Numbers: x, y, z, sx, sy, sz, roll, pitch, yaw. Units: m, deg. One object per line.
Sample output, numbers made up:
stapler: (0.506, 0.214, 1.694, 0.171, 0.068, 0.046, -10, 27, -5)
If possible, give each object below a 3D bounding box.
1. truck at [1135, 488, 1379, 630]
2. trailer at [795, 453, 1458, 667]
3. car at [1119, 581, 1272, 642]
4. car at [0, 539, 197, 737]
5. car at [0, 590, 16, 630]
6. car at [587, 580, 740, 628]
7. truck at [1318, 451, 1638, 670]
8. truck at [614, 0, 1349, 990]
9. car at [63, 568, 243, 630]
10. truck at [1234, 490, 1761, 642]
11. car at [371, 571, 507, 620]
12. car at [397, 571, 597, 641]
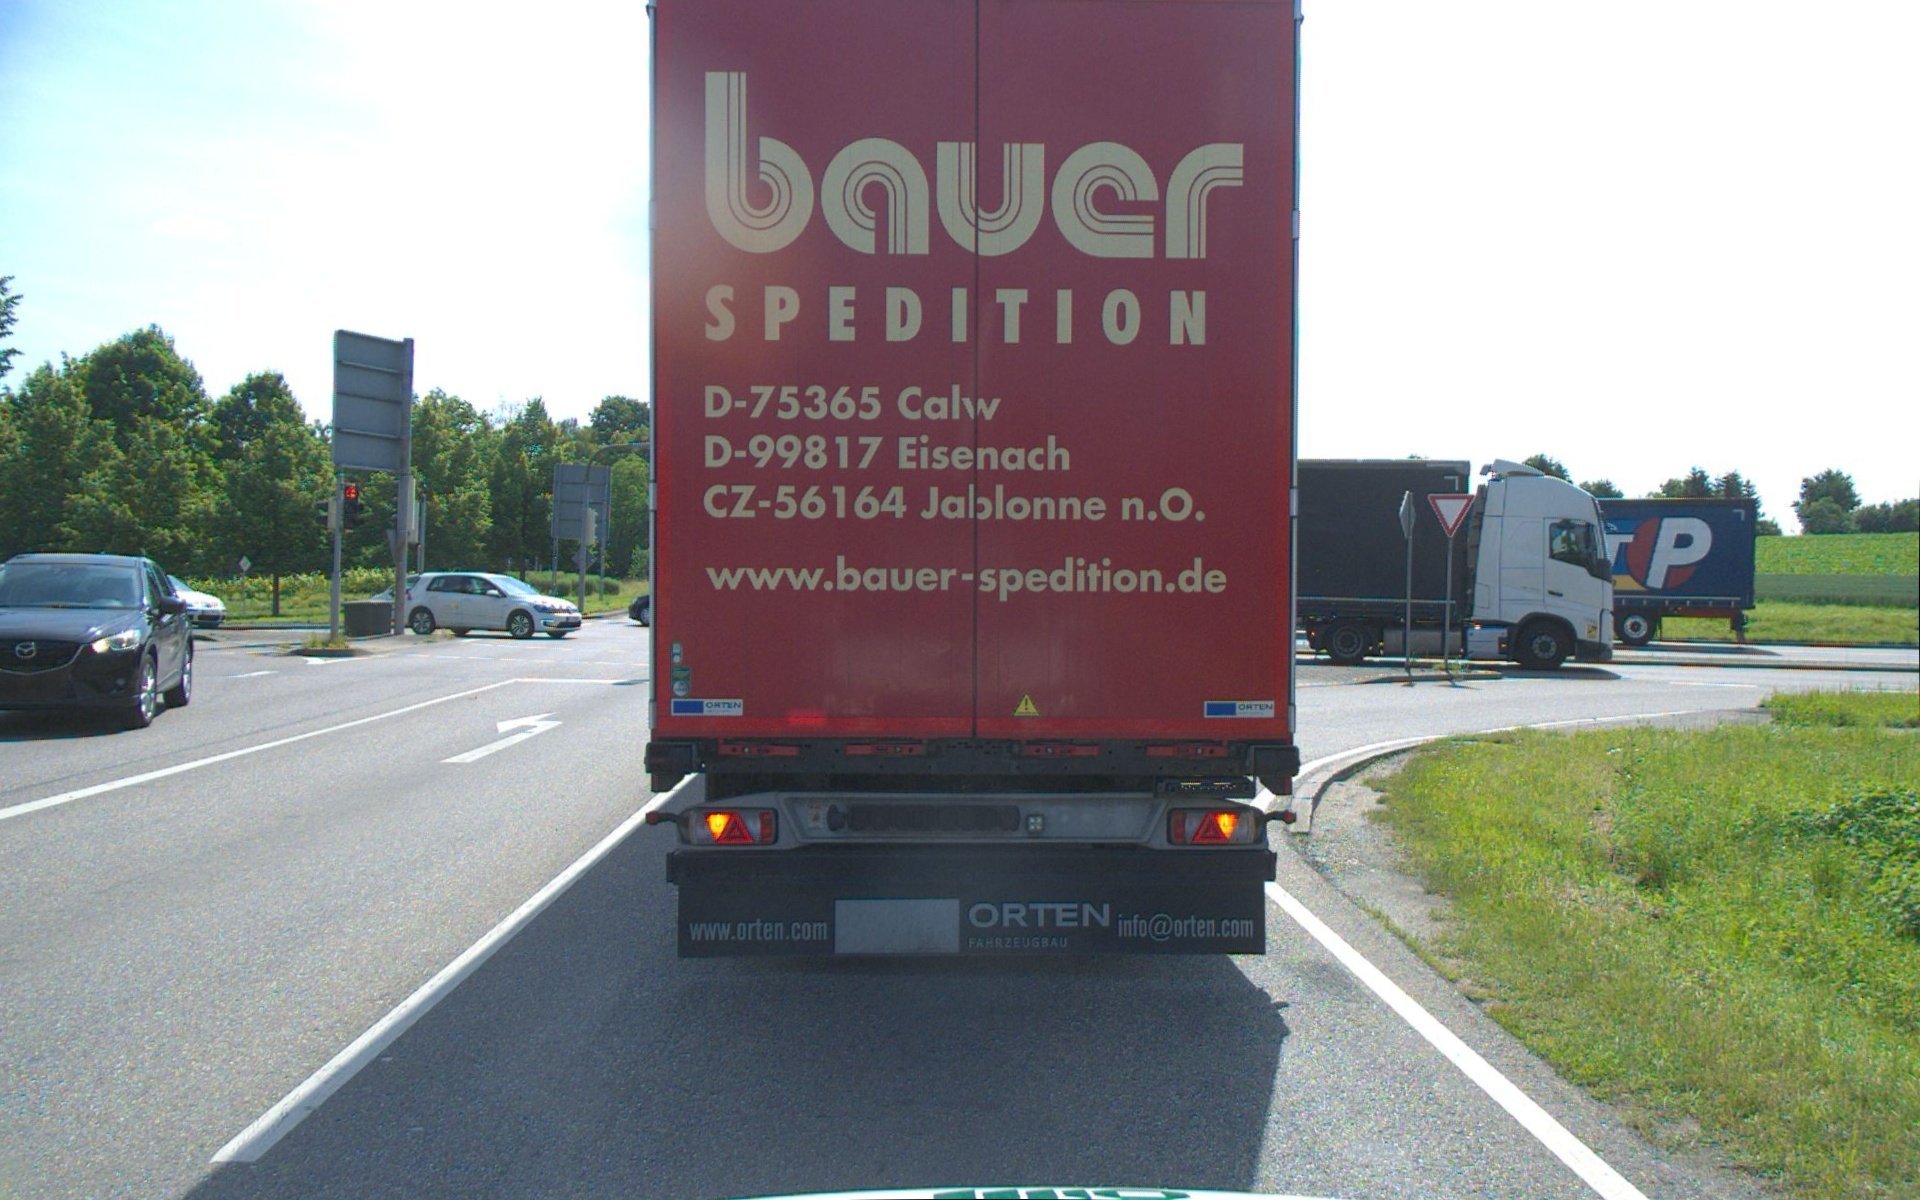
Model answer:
truck: (9.015, -1.280, 50.092, 6.787, 4.063, 3.028, 1, 1, 20)
trailer: (3.372, -0.932, 34.823, 13.392, 4.132, 2.801, 1, 1, 14)
car: (6.282, 0.305, 43.993, 3.910, 1.517, 1.539, 1, -1, 12)
car: (-9.019, 0.308, 16.873, 1.838, 1.780, 4.087, 0, 1, -19)
car: (-38.928, 0.410, 65.357, 1.860, 1.574, 4.045, -2, 1, -45)
car: (-8.628, 0.105, 48.084, 4.184, 1.328, 1.740, 1, 0, 27)
truck: (10.267, -0.821, 33.349, 5.701, 4.132, 2.801, 1, 1, 8)
truck: (-0.067, -0.656, 14.415, 2.679, 3.993, 16.622, 1, 1, -1)
car: (-20.295, -0.055, 41.623, 3.950, 1.441, 1.796, 1, 1, 18)
truck: (15.177, -1.082, 47.753, 13.987, 4.049, 3.028, 1, 1, 21)
car: (-16.017, -0.164, 50.843, 3.769, 1.380, 1.676, 2, 1, 22)
car: (-10.725, 0.108, 38.387, 4.157, 1.486, 1.811, 1, 1, 17)
